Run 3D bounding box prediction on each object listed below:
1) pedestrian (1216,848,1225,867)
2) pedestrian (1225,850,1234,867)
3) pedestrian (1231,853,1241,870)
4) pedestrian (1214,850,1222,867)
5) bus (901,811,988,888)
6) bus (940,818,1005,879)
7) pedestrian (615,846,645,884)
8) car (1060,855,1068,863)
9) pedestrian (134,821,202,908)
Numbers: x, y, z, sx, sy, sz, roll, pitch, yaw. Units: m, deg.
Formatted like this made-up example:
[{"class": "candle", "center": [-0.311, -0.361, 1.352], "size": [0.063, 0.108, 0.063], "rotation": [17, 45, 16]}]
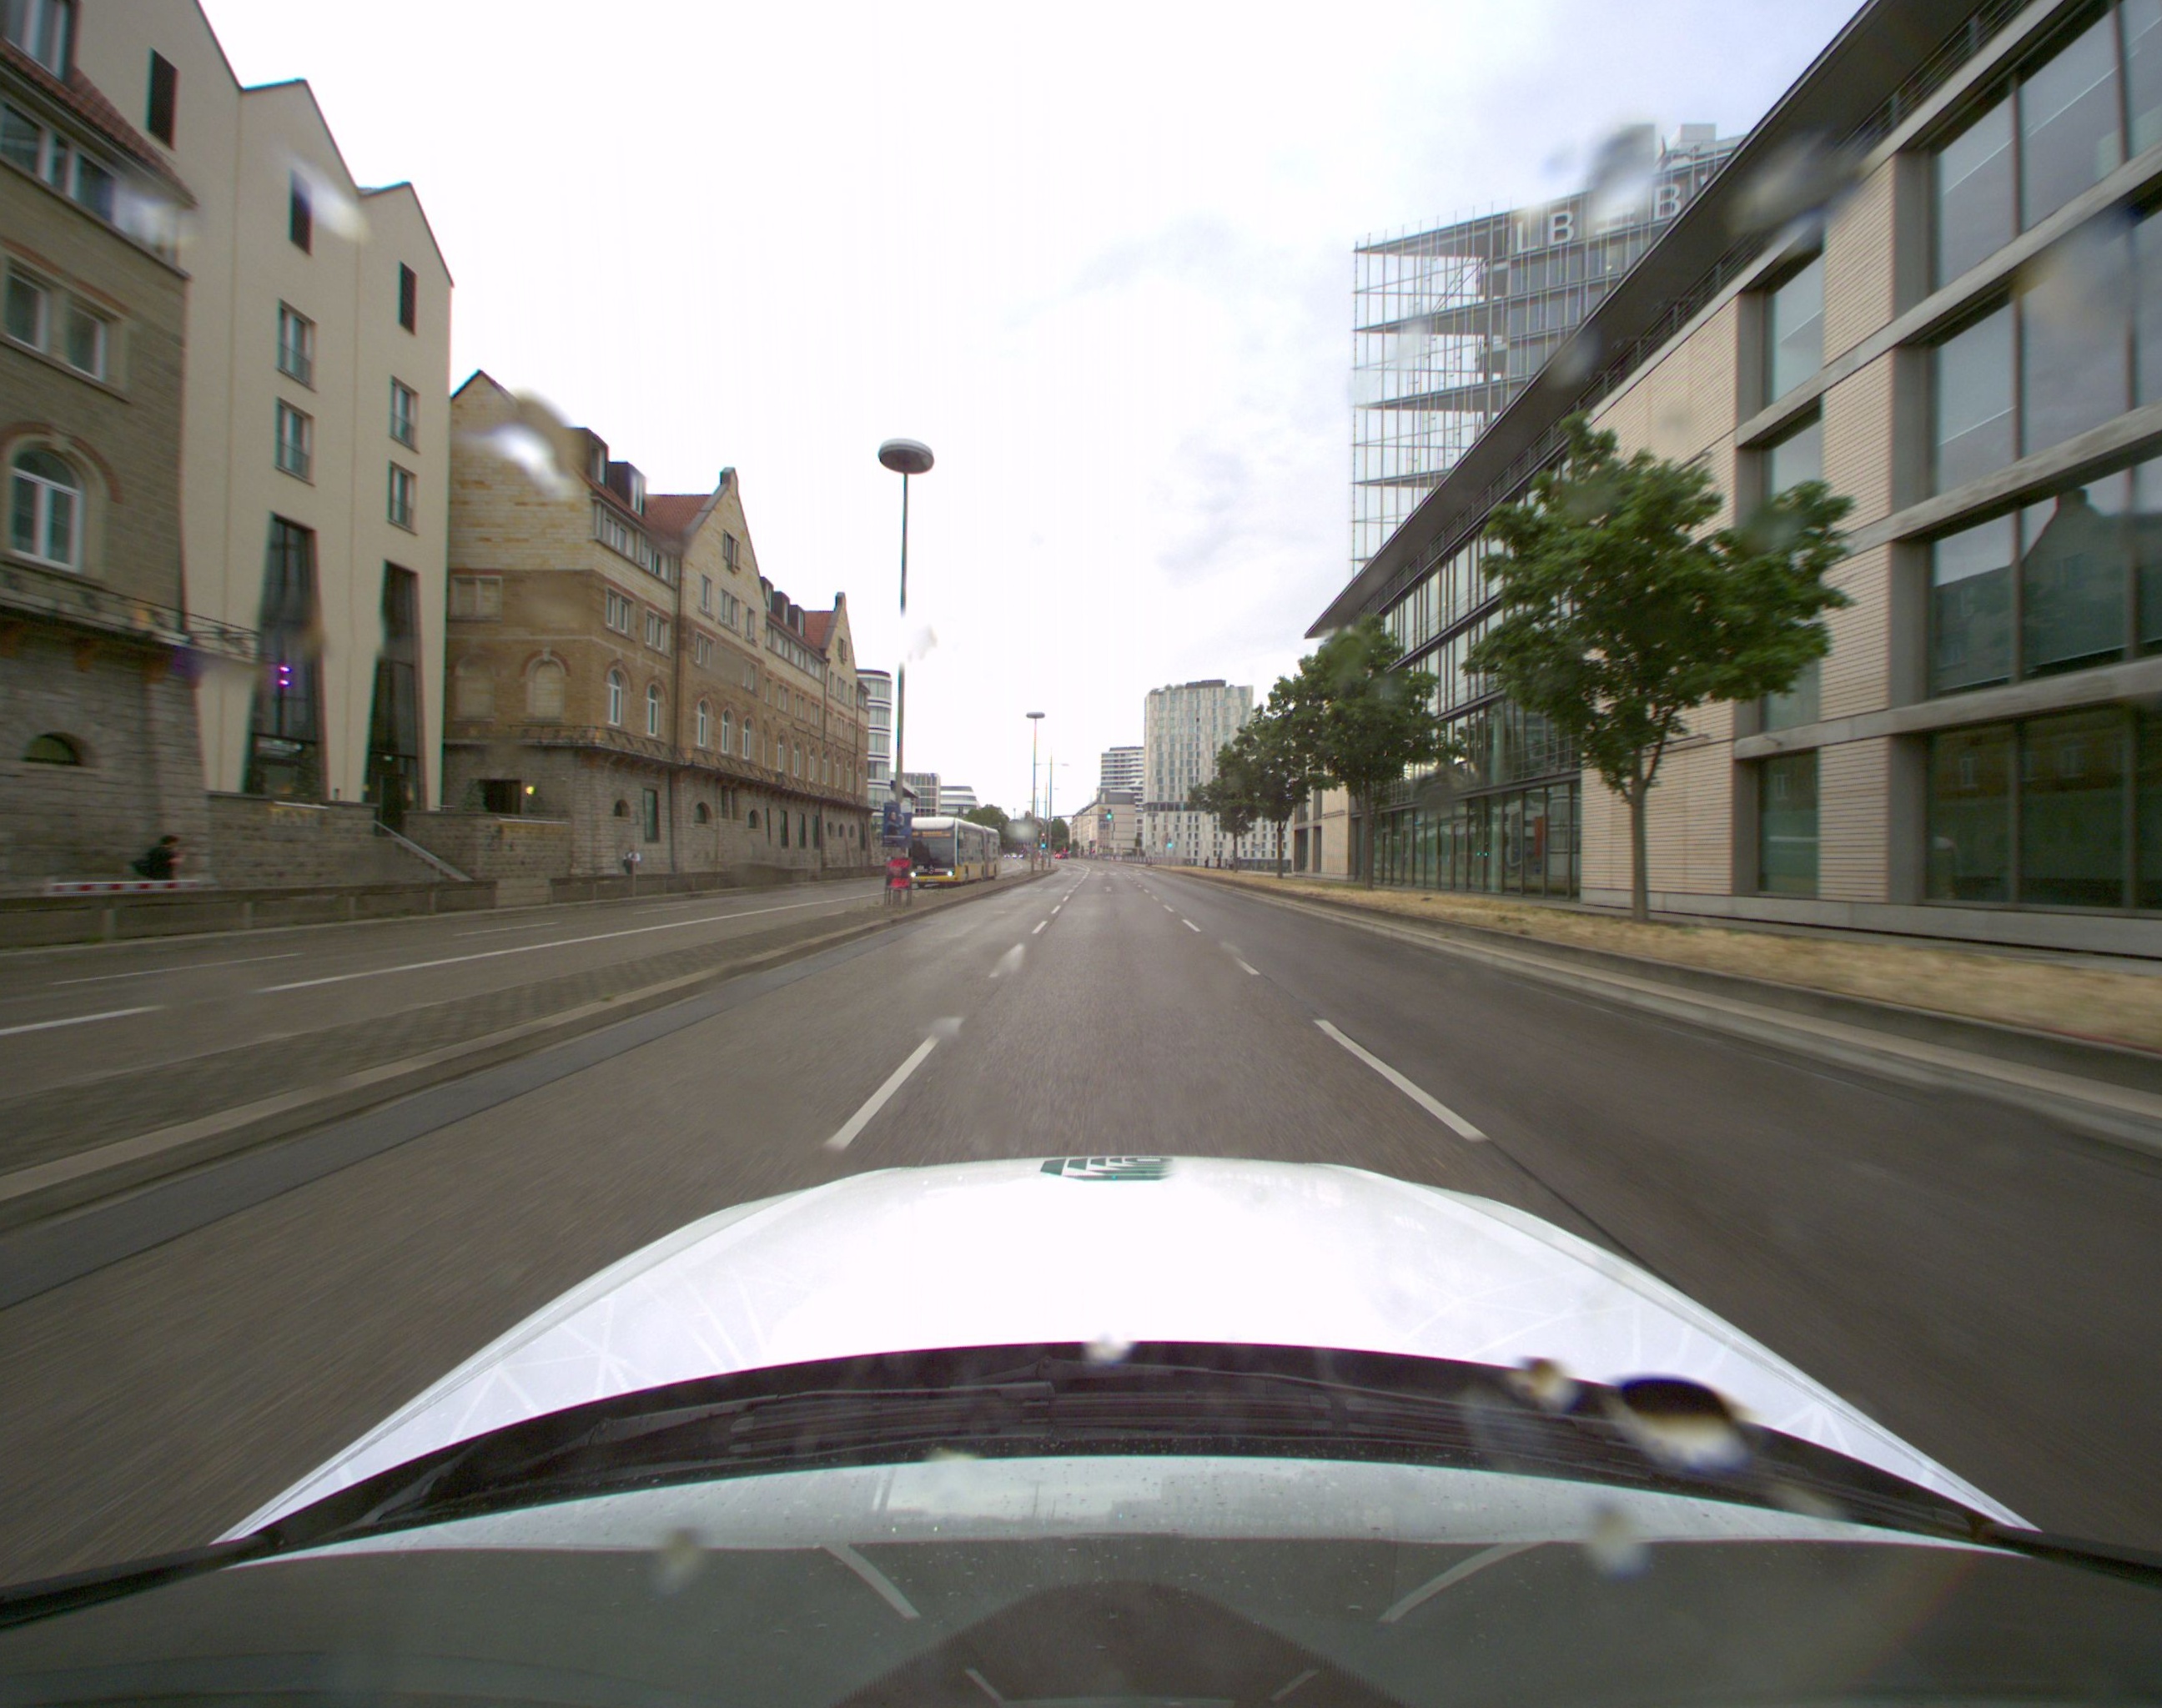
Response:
[{"class": "pedestrian", "center": [13.375, 0.339, 78.076], "size": [0.787, 1.841, 0.544], "rotation": [-2, 2, -43]}, {"class": "pedestrian", "center": [13.819, 0.431, 75.859], "size": [0.544, 1.578, 0.675], "rotation": [0, 2, 35]}, {"class": "pedestrian", "center": [14.583, 0.670, 76.477], "size": [0.662, 1.578, 0.673], "rotation": [0, 2, 39]}, {"class": "pedestrian", "center": [13.072, 0.457, 77.761], "size": [0.544, 1.578, 0.675], "rotation": [0, 2, 35]}, {"class": "bus", "center": [-6.944, -0.172, 42.977], "size": [2.689, 3.559, 10.094], "rotation": [-1, 0, 1]}, {"class": "bus", "center": [-6.892, -0.360, 53.215], "size": [2.689, 3.559, 10.095], "rotation": [-1, 1, 1]}, {"class": "pedestrian", "center": [-18.026, 0.423, 32.581], "size": [0.751, 1.477, 0.714], "rotation": [-1, 1, 0]}, {"class": "car", "center": [-5.258, 1.488, 249.720], "size": [1.987, 2.343, 4.000], "rotation": [-8, 0, 0]}, {"class": "pedestrian", "center": [-18.841, 0.199, 16.827], "size": [0.641, 1.745, 0.619], "rotation": [-1, 1, -12]}]
